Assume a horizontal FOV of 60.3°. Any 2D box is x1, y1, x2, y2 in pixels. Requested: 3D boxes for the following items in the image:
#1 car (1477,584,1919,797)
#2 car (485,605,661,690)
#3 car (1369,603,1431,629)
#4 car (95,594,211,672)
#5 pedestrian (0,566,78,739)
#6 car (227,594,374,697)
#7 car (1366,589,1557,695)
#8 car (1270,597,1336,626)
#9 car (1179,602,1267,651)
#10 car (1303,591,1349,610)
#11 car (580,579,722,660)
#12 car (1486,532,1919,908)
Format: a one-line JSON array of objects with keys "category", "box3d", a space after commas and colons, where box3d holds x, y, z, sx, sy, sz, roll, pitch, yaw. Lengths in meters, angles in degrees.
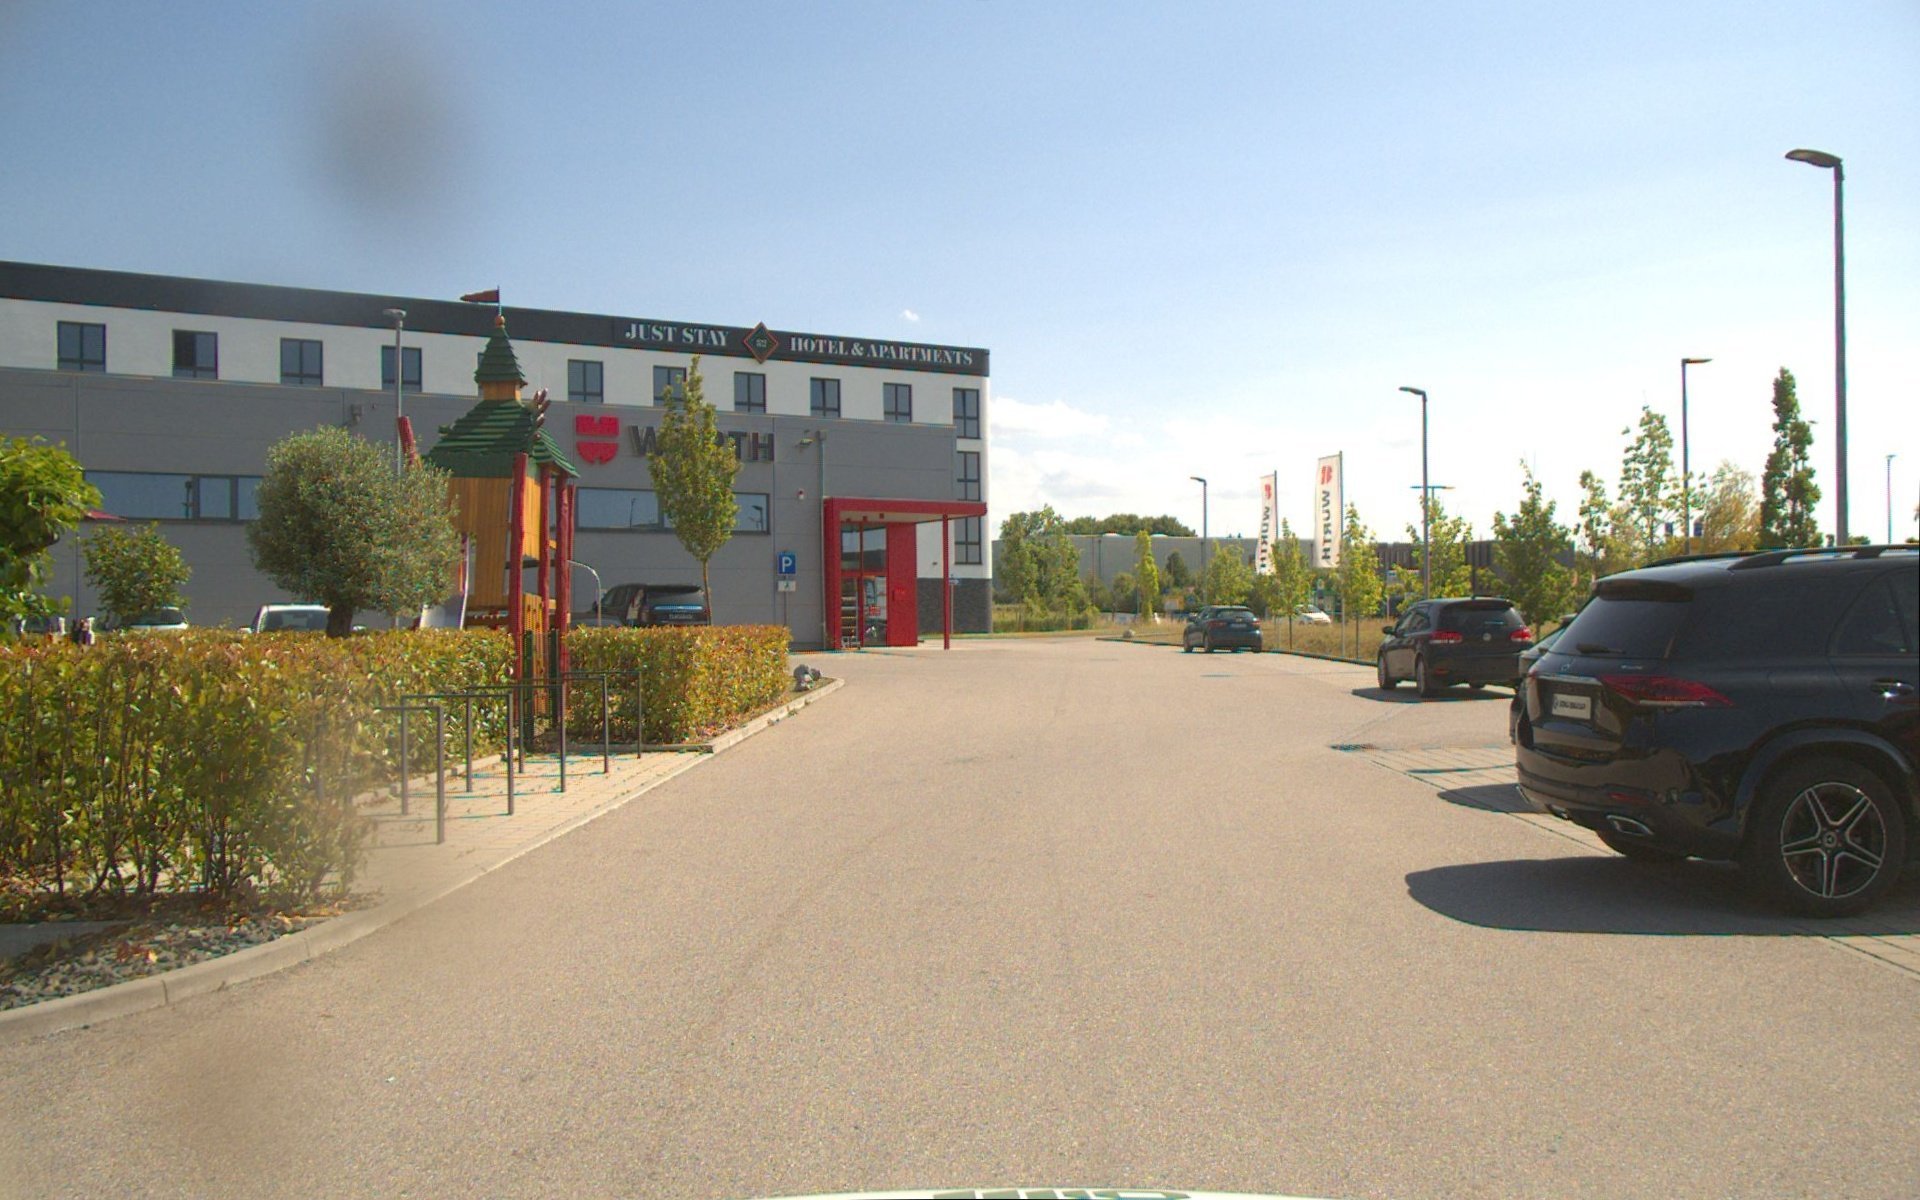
[{"category": "car", "box3d": [6.621, 0.650, 13.244, 4.352, 1.513, 1.876, -1, 0, -4]}, {"category": "car", "box3d": [-7.079, 0.805, 29.964, 1.844, 1.386, 4.329, -1, 0, -32]}, {"category": "car", "box3d": [24.623, 0.863, 92.740, 1.624, 1.410, 3.489, -1, 0, -22]}, {"category": "car", "box3d": [-18.067, 0.688, 36.945, 1.928, 1.613, 4.329, -1, 0, -32]}, {"category": "pedestrian", "box3d": [-9.637, 0.522, 16.916, 0.744, 1.717, 0.786, 0, 0, 14]}, {"category": "car", "box3d": [-11.091, 0.687, 27.648, 1.924, 1.557, 4.338, -1, 0, -27]}, {"category": "car", "box3d": [7.929, 0.622, 26.563, 1.798, 1.503, 4.120, -2, 0, 0]}, {"category": "car", "box3d": [18.761, 0.599, 90.596, 1.844, 1.509, 3.979, -1, 0, -18]}, {"category": "car", "box3d": [8.036, 0.796, 50.850, 1.666, 1.431, 3.891, 0, 0, -7]}, {"category": "car", "box3d": [33.440, 0.083, 151.063, 3.901, 1.687, 1.889, -1, 0, -28]}, {"category": "car", "box3d": [-7.843, 0.448, 41.659, 2.049, 1.913, 4.830, -1, 0, -30]}, {"category": "car", "box3d": [5.395, 0.590, 8.975, 4.484, 1.791, 1.894, 0, -1, -4]}]
